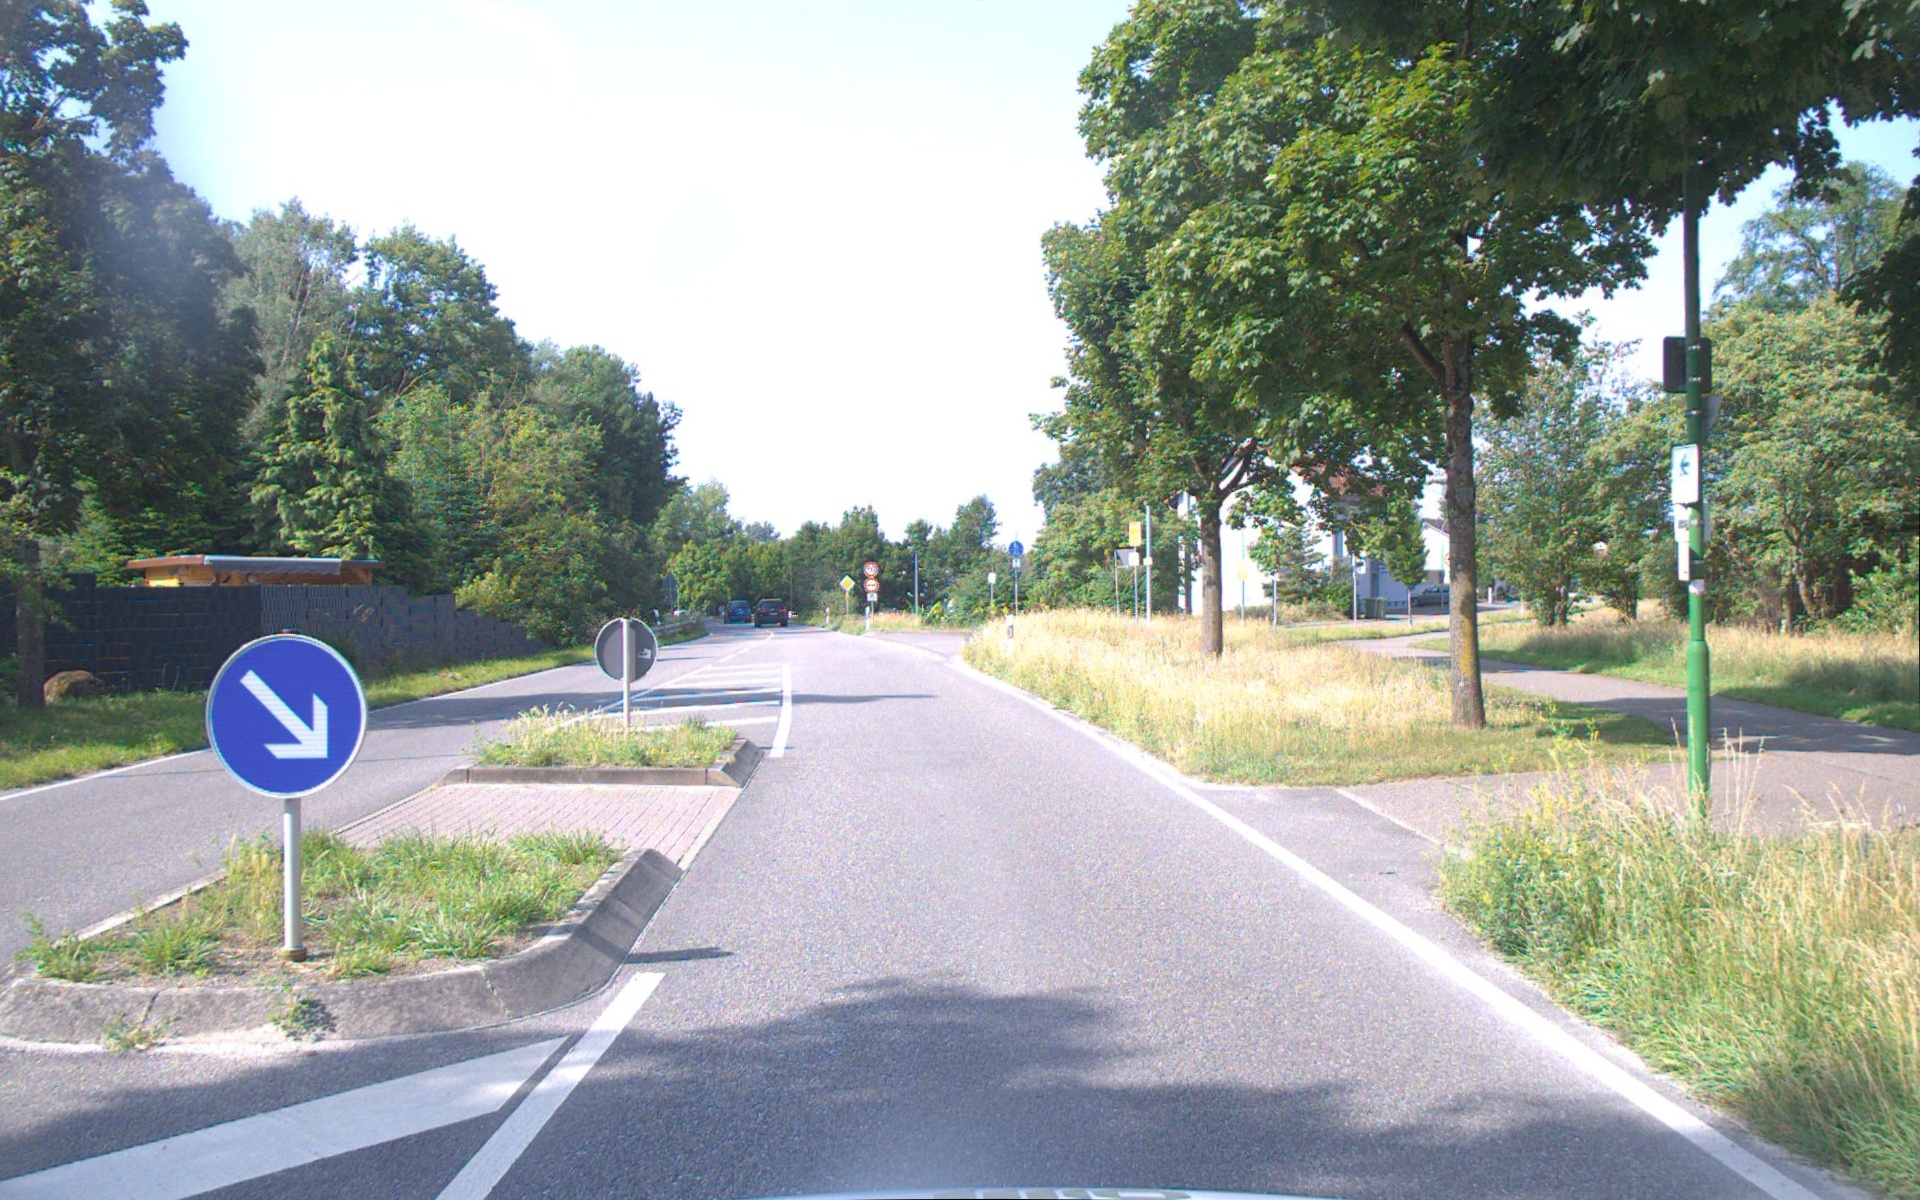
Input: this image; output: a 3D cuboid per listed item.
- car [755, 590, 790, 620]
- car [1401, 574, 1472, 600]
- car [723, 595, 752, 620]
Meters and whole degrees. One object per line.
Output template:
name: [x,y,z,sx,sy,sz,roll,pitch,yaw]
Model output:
car: [-11.735,0.269,103.348,1.890,1.802,3.990,-1,1,-10]
car: [32.666,-0.893,113.528,4.368,1.728,1.765,1,0,34]
car: [-16.624,0.564,123.422,1.968,1.802,3.990,-1,1,-11]
